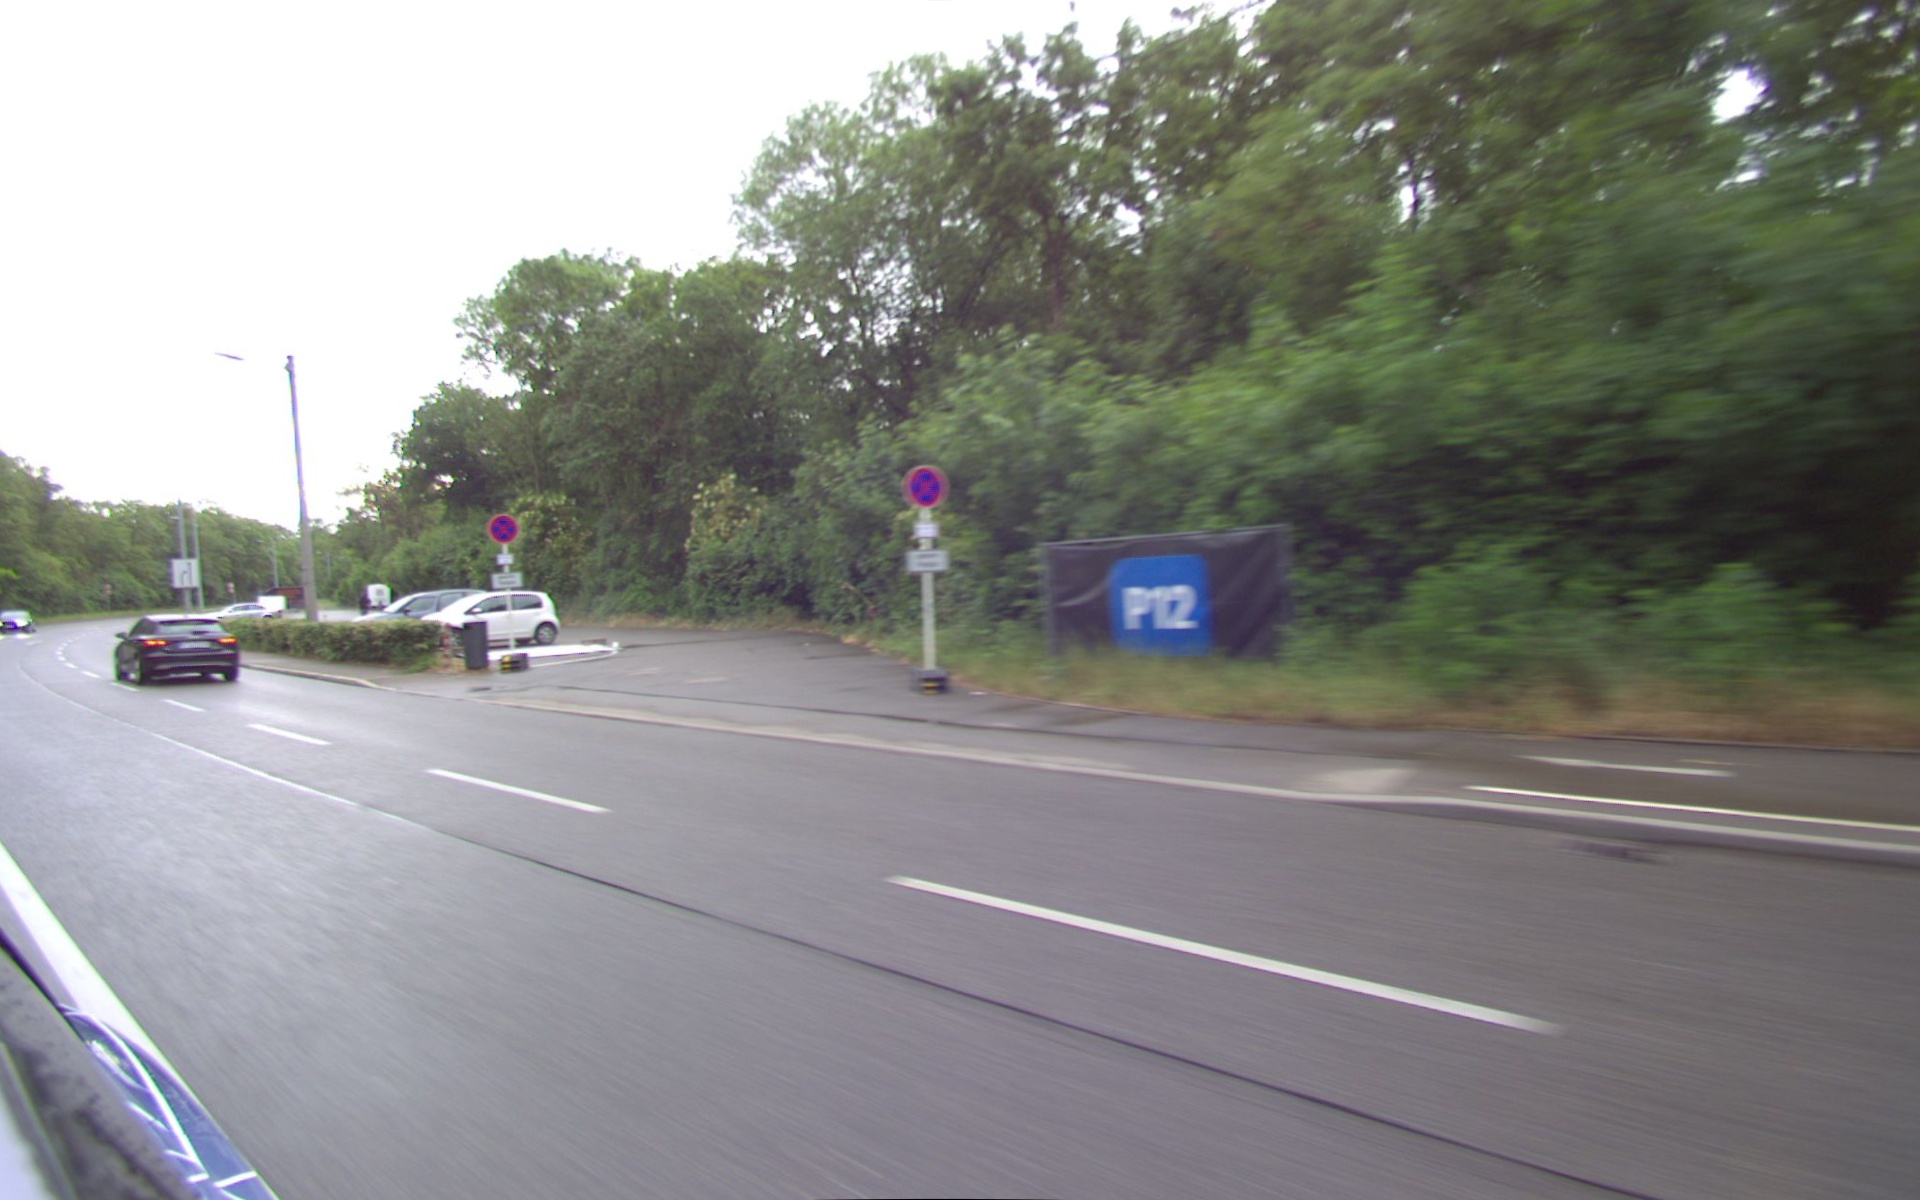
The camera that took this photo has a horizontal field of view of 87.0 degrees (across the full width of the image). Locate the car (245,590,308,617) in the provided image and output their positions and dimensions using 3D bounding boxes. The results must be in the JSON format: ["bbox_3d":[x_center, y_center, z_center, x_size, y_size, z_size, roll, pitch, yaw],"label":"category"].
[{"bbox_3d":[-83.179,0.384,123.323,6.186,3.136,2.760,-2,2,-32],"label":"car"}]

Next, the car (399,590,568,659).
[{"bbox_3d":[-12.630,0.604,26.964,1.851,1.603,3.606,-1,1,43],"label":"car"}]

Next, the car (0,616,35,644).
[{"bbox_3d":[-61.818,1.924,65.845,1.967,1.696,4.009,-1,1,-37],"label":"car"}]

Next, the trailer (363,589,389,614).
[{"bbox_3d":[-68.664,0.152,118.930,2.442,2.895,8.000,-1,1,-32],"label":"trailer"}]

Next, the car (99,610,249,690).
[{"bbox_3d":[-17.258,1.018,22.141,4.318,1.509,1.914,-1,1,43],"label":"car"}]

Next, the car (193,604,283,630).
[{"bbox_3d":[-47.092,1.084,66.021,4.522,1.517,2.002,-3,1,-44],"label":"car"}]

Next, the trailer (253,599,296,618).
[{"bbox_3d":[-80.348,1.002,118.651,3.931,2.068,1.879,-1,1,-29],"label":"trailer"}]

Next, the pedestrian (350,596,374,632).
[{"bbox_3d":[-30.265,0.709,51.243,0.807,1.811,1.137,-2,1,-42],"label":"pedestrian"}]

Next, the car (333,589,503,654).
[{"bbox_3d":[-16.561,0.600,31.039,4.238,1.721,2.003,-3,1,-41],"label":"car"}]
